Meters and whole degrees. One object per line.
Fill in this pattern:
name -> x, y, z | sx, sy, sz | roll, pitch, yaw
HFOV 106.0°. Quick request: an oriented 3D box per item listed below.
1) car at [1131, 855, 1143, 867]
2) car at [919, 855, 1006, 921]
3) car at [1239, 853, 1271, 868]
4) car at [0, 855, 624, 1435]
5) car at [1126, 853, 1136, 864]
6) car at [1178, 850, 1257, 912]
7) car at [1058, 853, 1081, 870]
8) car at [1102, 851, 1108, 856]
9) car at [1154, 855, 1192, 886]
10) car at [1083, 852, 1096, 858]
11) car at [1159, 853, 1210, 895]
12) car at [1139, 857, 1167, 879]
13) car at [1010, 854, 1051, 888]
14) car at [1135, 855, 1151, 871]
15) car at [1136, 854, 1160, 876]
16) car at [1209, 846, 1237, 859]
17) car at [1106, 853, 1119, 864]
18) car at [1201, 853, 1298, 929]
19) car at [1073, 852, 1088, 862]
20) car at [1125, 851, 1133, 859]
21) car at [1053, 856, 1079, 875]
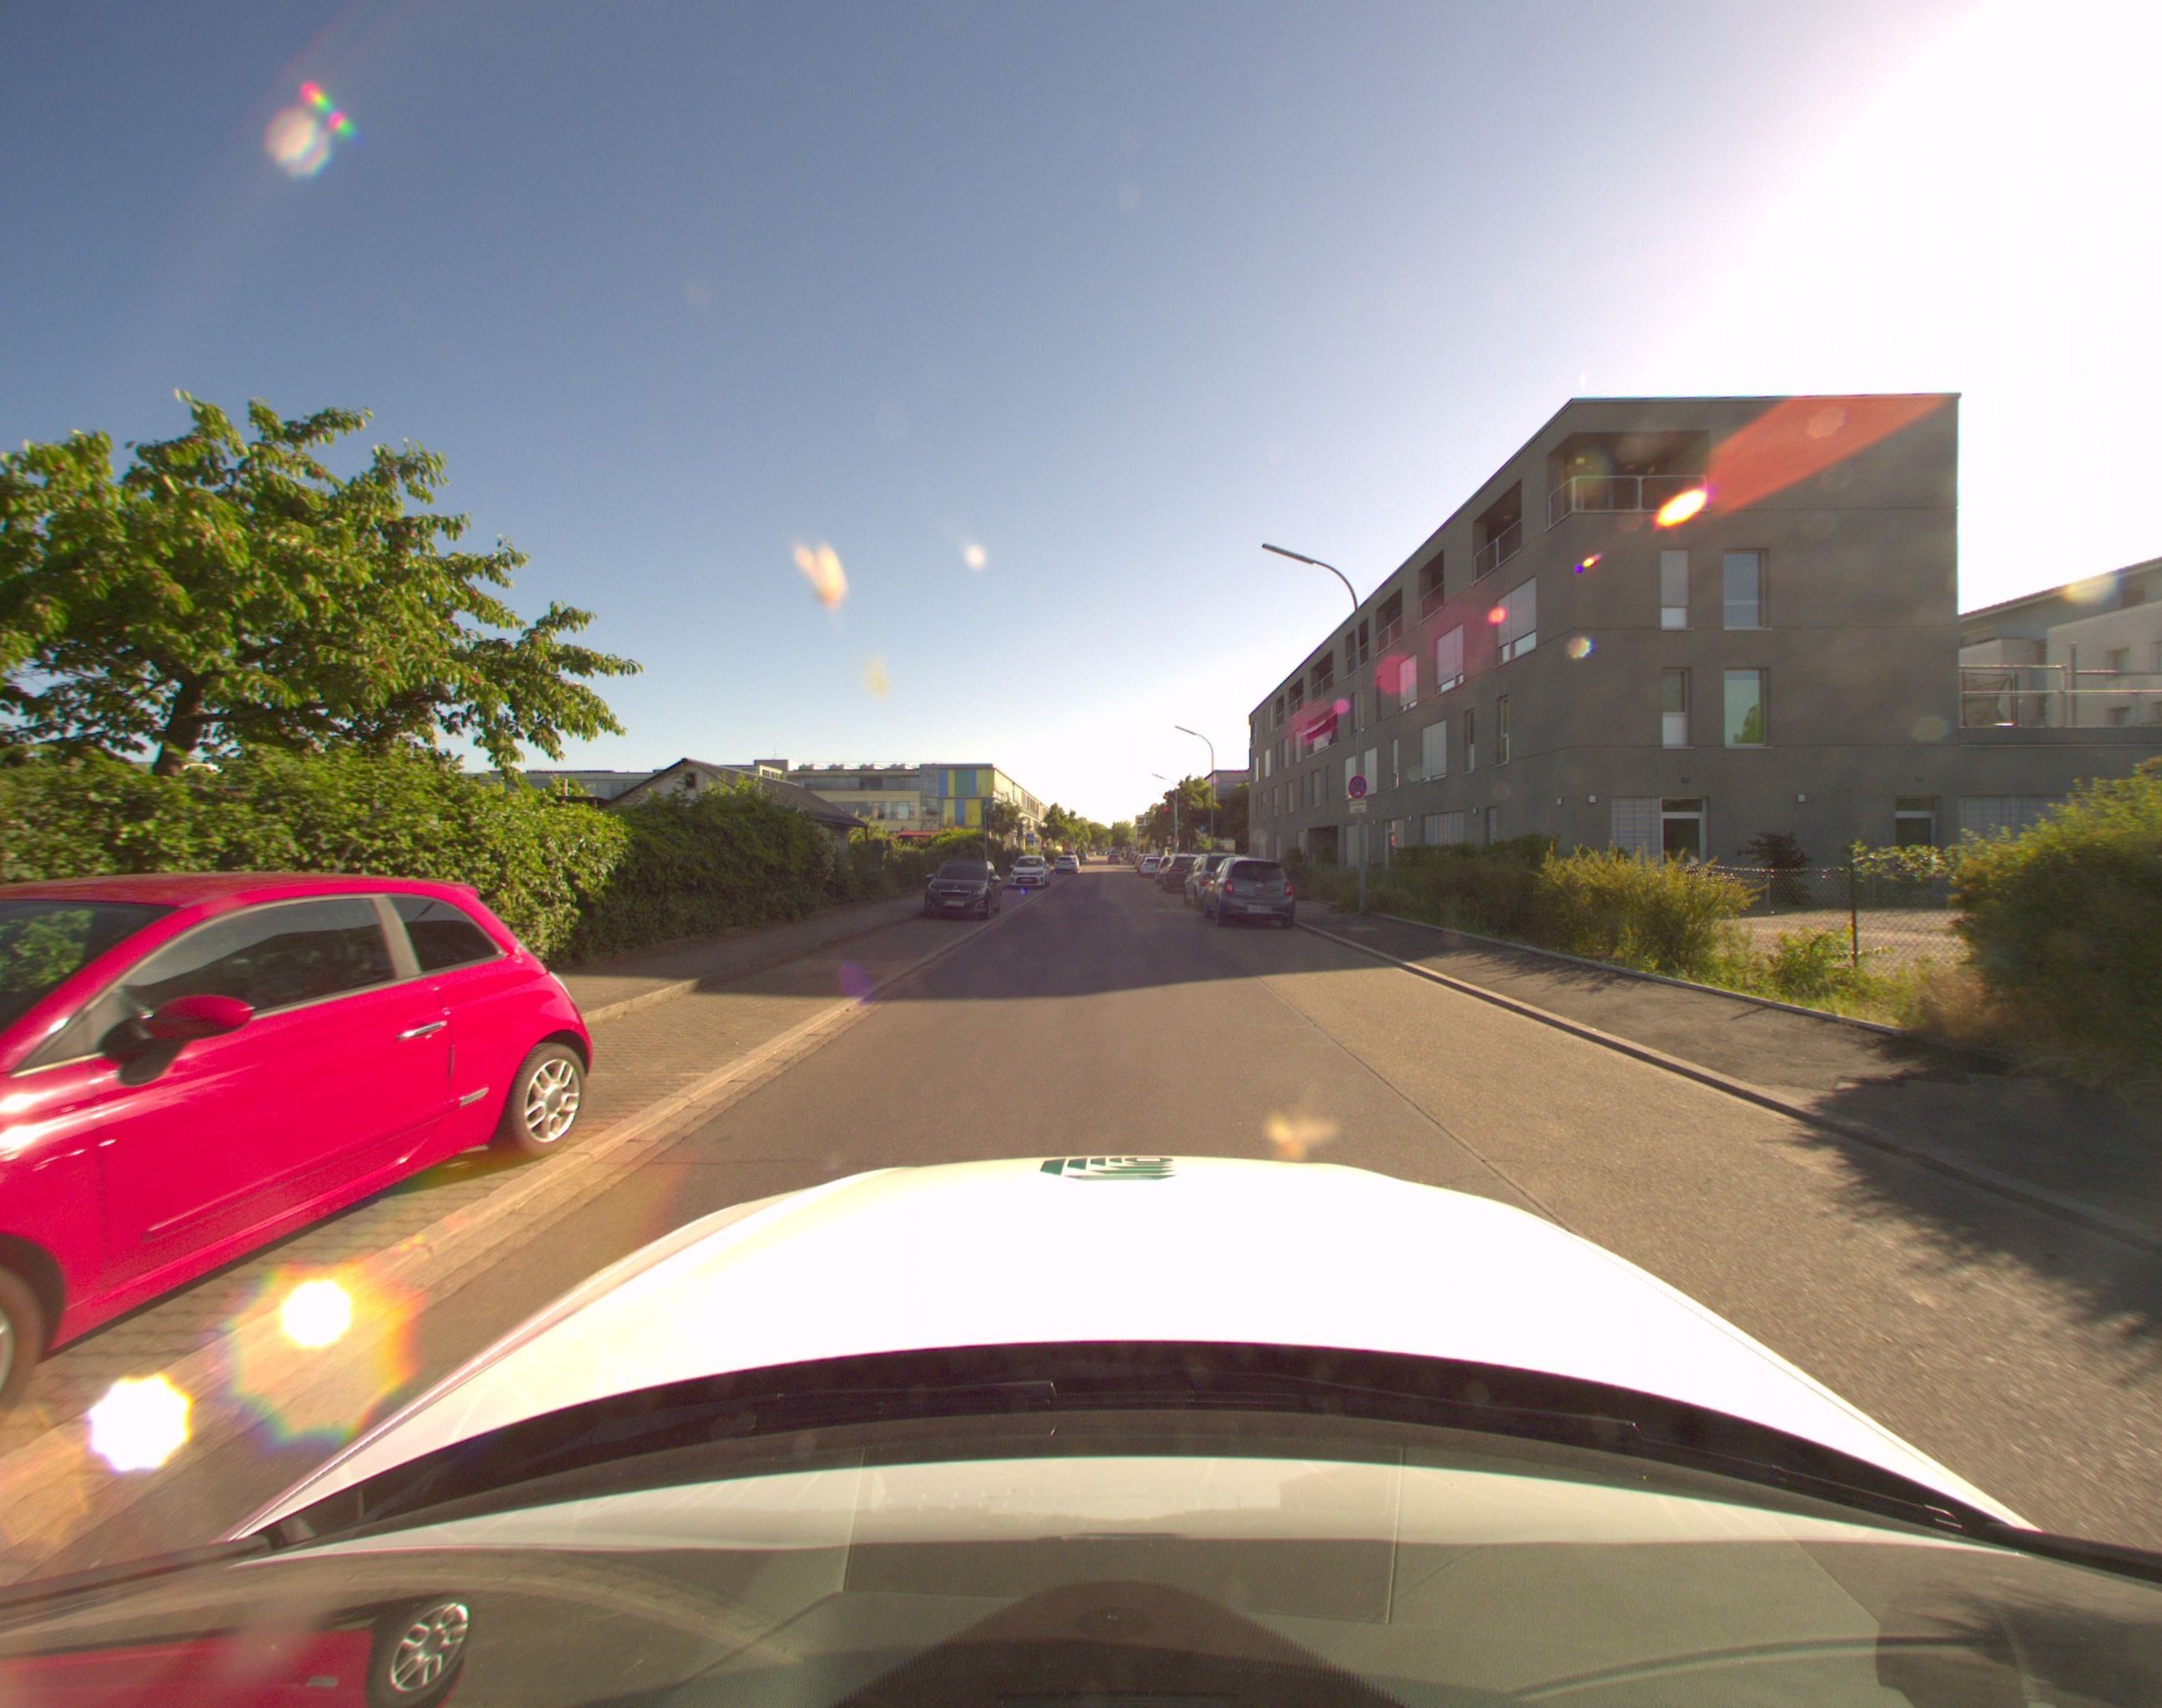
car -> 7.730, 0.969, 113.081 | 1.440, 1.549, 3.615 | 2, 0, 1
car -> -2.982, 0.813, 21.152 | 1.554, 1.495, 3.572 | 3, 0, 2
car -> 18.861, 0.682, 88.404 | 3.201, 1.460, 1.451 | 2, 0, 4
car -> -3.536, 0.758, 3.036 | 1.554, 1.495, 3.572 | 0, 0, 2
car -> 7.904, 0.710, 129.093 | 1.440, 1.549, 3.615 | 2, 0, 1
car -> 3.958, 0.735, 24.174 | 1.670, 1.608, 4.179 | 2, 0, 1
car -> -1.037, 0.697, 75.073 | 1.847, 1.428, 4.135 | 2, 0, 2
car -> 7.389, -0.060, 253.089 | 1.658, 1.549, 3.902 | 2, 0, 1
car -> 4.863, 0.849, 43.522 | 1.651, 1.551, 3.852 | 2, 0, 2
car -> 2.584, 0.353, 242.154 | 3.594, 1.549, 1.448 | 2, 0, -4
car -> 4.331, 0.783, 34.533 | 1.735, 1.625, 4.180 | 2, 0, 2
car -> 5.118, 0.993, 58.469 | 1.735, 1.428, 4.135 | 2, 0, 2
car -> -2.326, 0.777, 38.194 | 1.554, 1.495, 3.760 | 0, 0, 2
car -> 6.140, 0.876, 80.882 | 1.440, 1.549, 3.615 | 2, 0, 1
car -> 5.267, 0.867, 64.480 | 1.627, 1.630, 3.615 | 2, 0, 1
car -> 16.893, -0.180, 97.071 | 3.201, 1.549, 1.451 | 2, 0, 4
car -> 4.407, 0.602, 113.005 | 1.683, 1.549, 3.615 | 2, 0, 1
car -> 3.846, 0.787, 19.198 | 1.616, 1.526, 3.904 | 2, 0, 3
car -> -0.108, 0.484, 126.831 | 1.845, 1.563, 4.142 | 2, 0, 7
car -> 9.073, 0.184, 154.497 | 1.440, 1.549, 3.615 | 2, 0, 1
car -> -1.209, 0.914, 67.494 | 1.847, 1.428, 4.135 | 2, 0, 2
